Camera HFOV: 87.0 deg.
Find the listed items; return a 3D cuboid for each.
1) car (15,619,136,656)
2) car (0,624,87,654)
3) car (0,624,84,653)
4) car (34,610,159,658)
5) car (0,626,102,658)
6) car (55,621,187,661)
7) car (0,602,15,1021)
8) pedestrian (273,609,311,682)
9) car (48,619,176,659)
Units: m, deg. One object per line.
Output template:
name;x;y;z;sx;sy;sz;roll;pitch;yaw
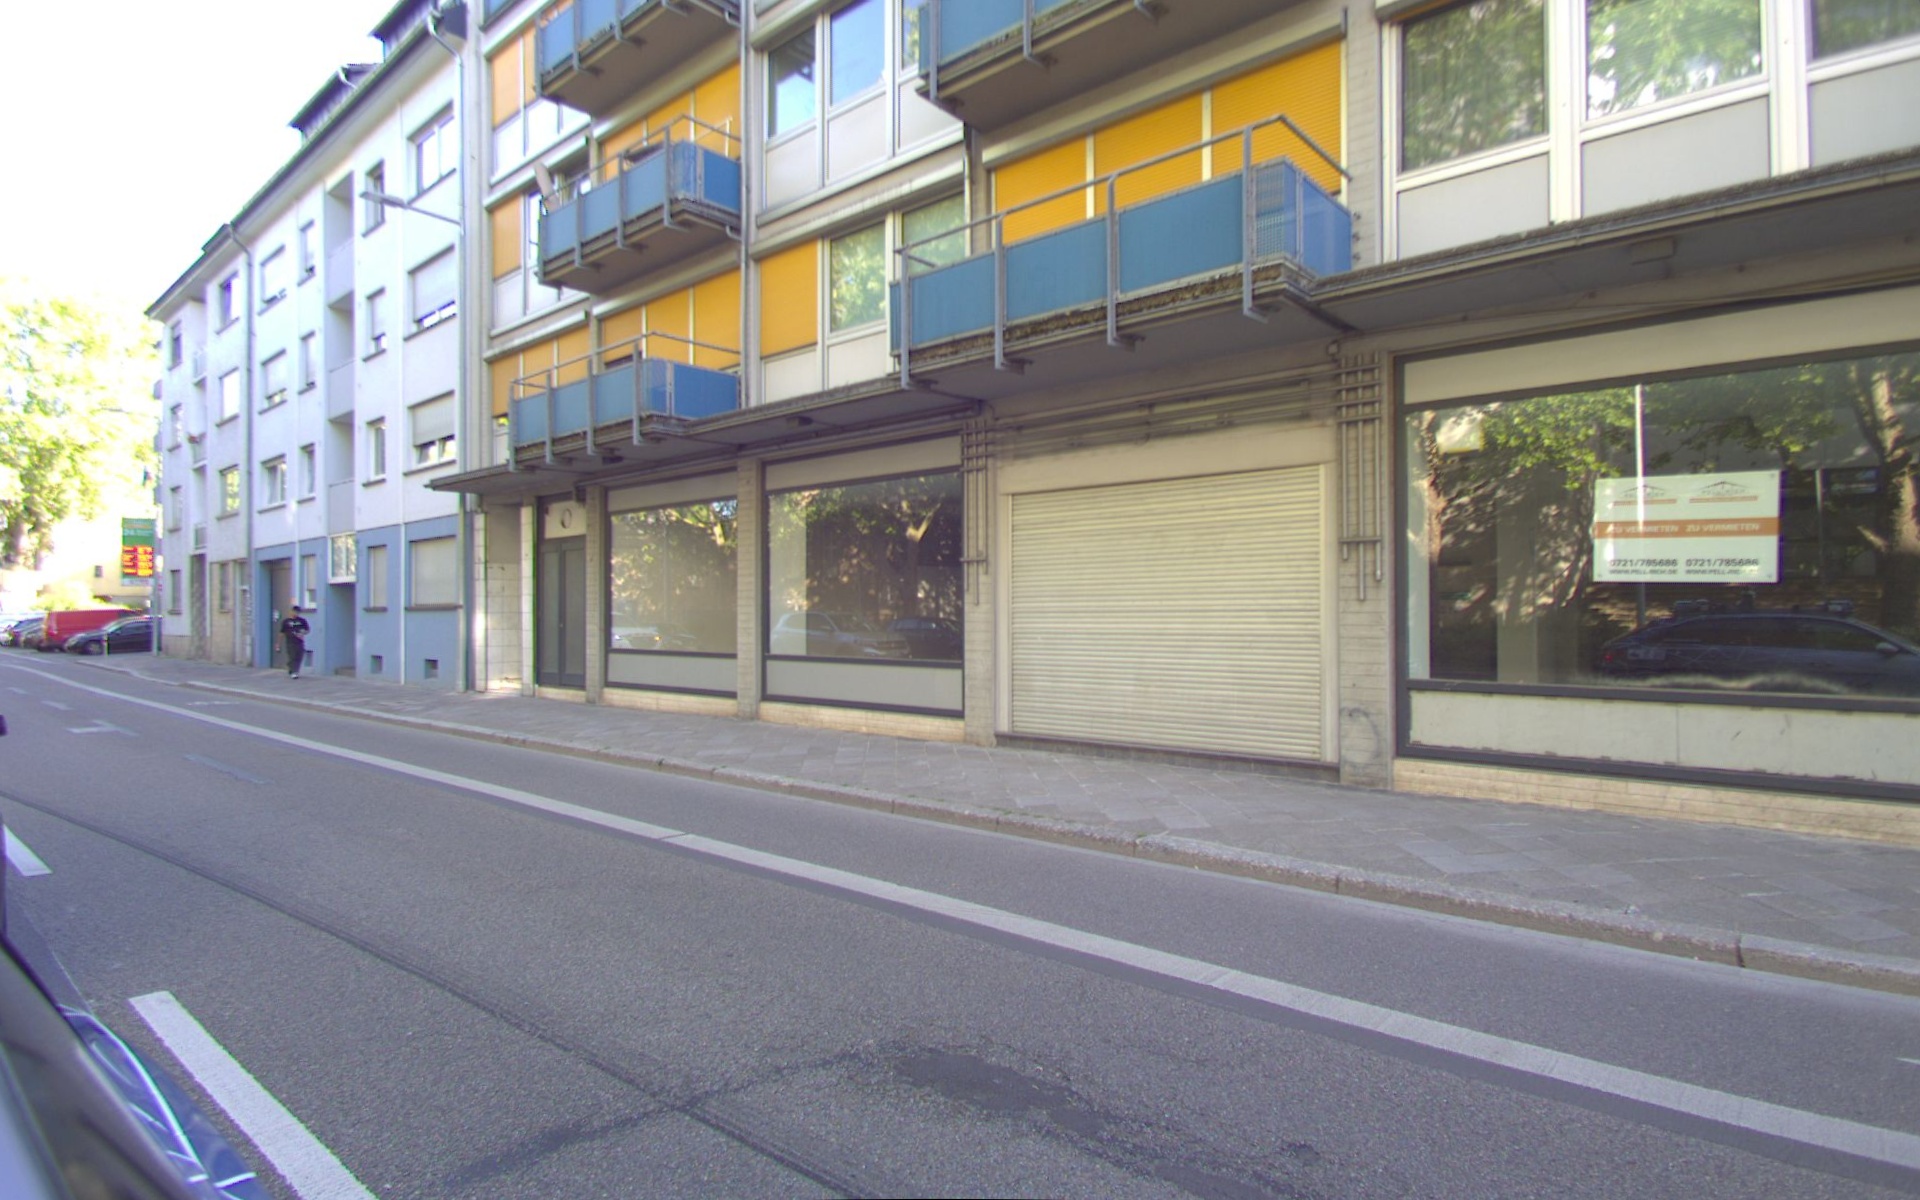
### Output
car;-42.763;1.788;49.018;1.652;1.480;4.201;-1;1;41
car;-54.503;2.276;59.793;1.652;1.480;4.201;-1;1;41
car;-55.885;2.297;61.201;1.652;1.480;4.201;-1;1;41
car;-40.575;1.556;47.622;1.817;1.933;4.202;-1;1;40
car;-50.470;2.290;56.108;1.652;1.480;4.201;-1;1;41
car;-36.500;1.742;44.097;1.652;1.411;4.201;-1;1;41
car;-5.649;0.797;4.408;4.300;1.510;1.826;-1;-1;41
pedestrian;-15.812;1.066;23.965;0.655;1.708;0.604;-2;-1;41
car;-38.193;1.729;45.660;1.652;1.480;4.201;-1;1;41
